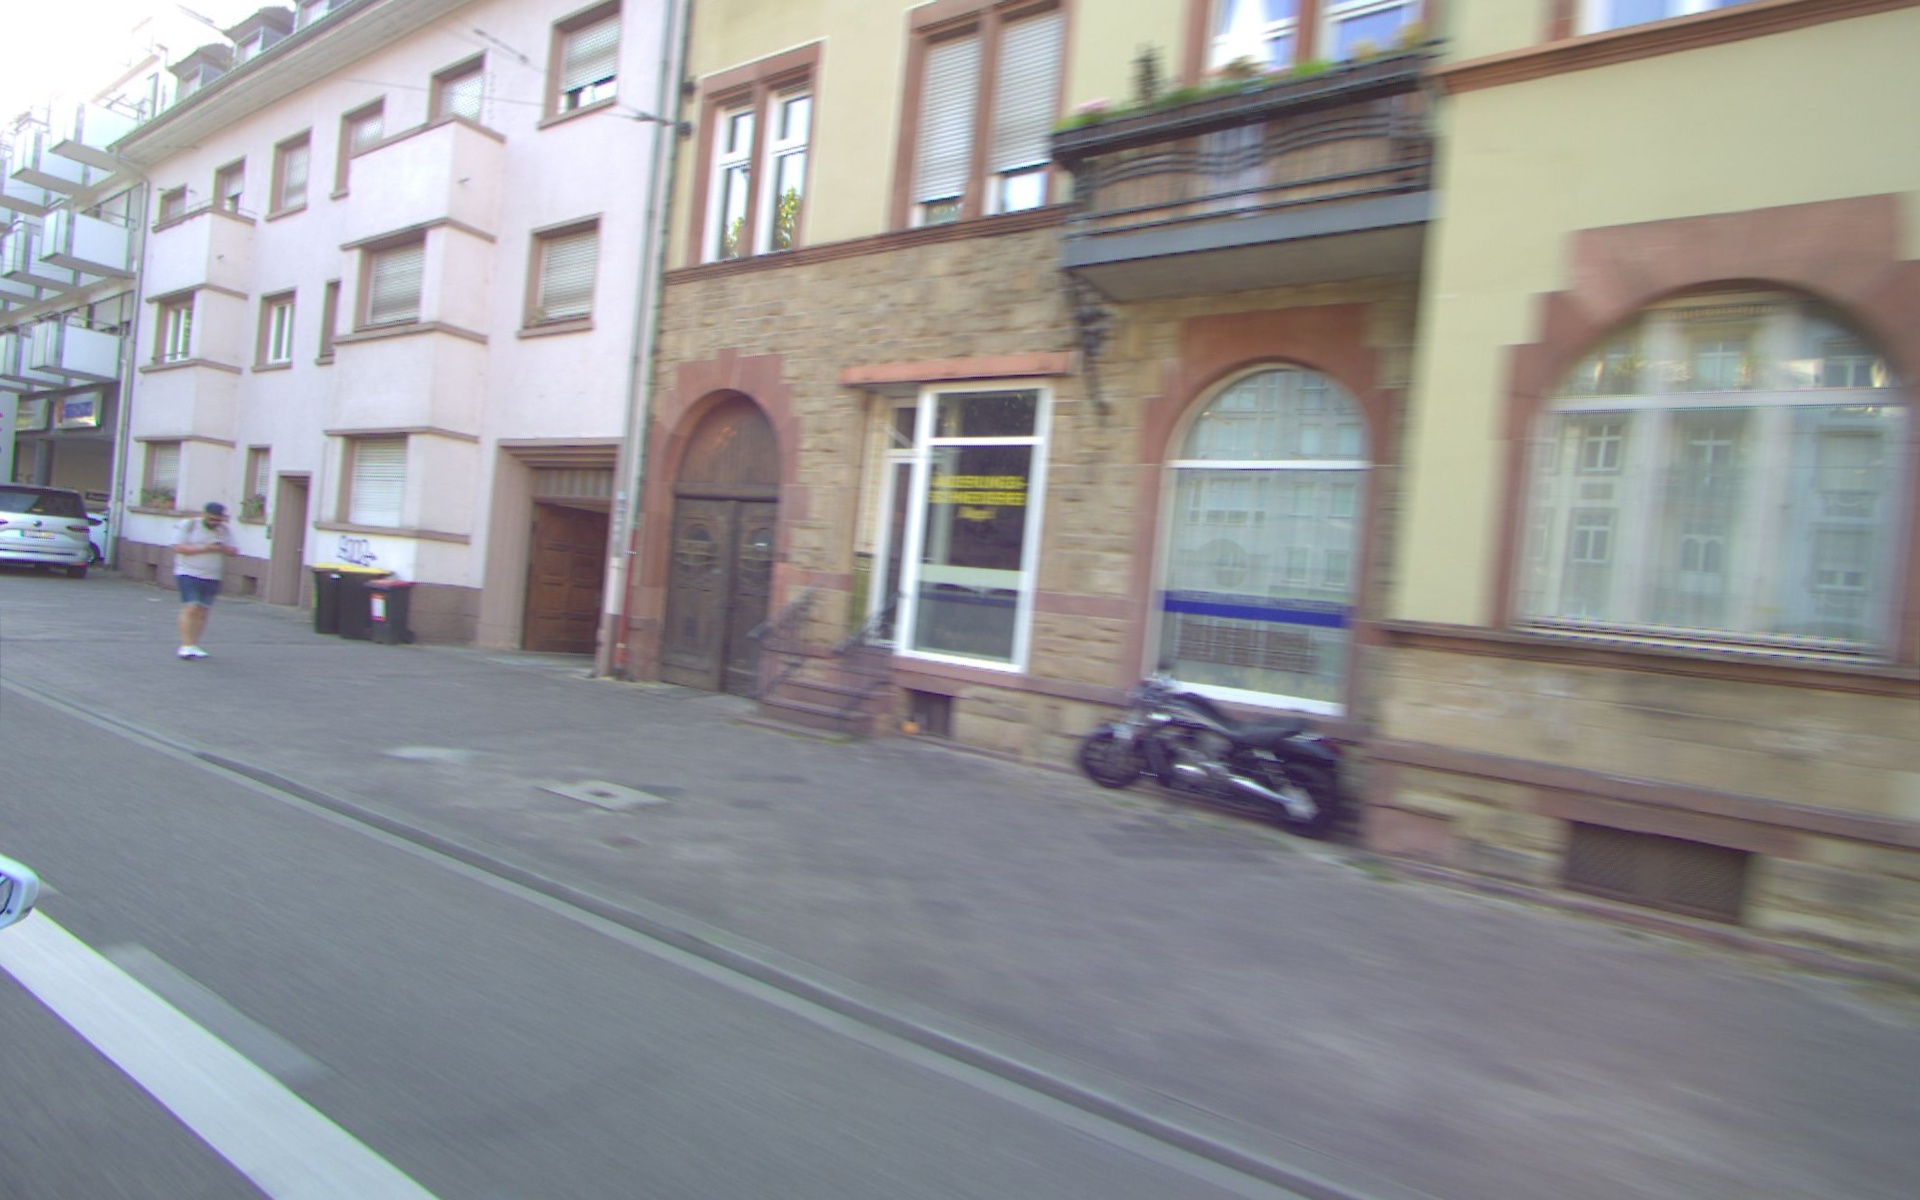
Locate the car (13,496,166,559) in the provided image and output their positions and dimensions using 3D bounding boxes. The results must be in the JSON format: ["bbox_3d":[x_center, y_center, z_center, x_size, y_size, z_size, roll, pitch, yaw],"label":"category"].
[{"bbox_3d":[-29.958,-2.456,34.711,3.541,1.677,1.614,6,0,-12],"label":"car"}]

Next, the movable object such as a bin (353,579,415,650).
[{"bbox_3d":[-8.481,0.219,14.812,0.576,0.981,0.553,5,0,37],"label":"movable object such as a bin"}]

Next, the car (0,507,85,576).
[{"bbox_3d":[-24.457,-1.596,24.845,1.881,1.520,3.816,7,0,30],"label":"car"}]

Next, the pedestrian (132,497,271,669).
[{"bbox_3d":[-8.634,-0.193,11.452,1.132,1.835,0.829,5,0,34],"label":"pedestrian"}]

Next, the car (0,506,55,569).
[{"bbox_3d":[-26.535,-1.824,26.315,1.780,1.533,3.871,7,0,33],"label":"car"}]

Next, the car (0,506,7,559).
[{"bbox_3d":[-30.233,-2.209,28.848,1.829,1.560,3.821,6,0,33],"label":"car"}]

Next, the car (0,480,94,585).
[{"bbox_3d":[-20.863,-1.524,22.035,4.828,1.973,1.891,5,0,38],"label":"car"}]

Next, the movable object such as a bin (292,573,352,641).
[{"bbox_3d":[-9.786,0.108,15.440,0.576,0.981,0.553,5,0,37],"label":"movable object such as a bin"}]

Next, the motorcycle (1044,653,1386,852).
[{"bbox_3d":[1.935,1.117,7.904,2.464,1.151,0.590,5,0,32],"label":"motorcycle"}]

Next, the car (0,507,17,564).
[{"bbox_3d":[-28.309,-1.977,27.404,1.712,1.544,3.422,6,0,31],"label":"car"}]

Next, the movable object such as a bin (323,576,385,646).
[{"bbox_3d":[-9.062,0.169,15.043,0.576,0.981,0.553,5,0,37],"label":"movable object such as a bin"}]
